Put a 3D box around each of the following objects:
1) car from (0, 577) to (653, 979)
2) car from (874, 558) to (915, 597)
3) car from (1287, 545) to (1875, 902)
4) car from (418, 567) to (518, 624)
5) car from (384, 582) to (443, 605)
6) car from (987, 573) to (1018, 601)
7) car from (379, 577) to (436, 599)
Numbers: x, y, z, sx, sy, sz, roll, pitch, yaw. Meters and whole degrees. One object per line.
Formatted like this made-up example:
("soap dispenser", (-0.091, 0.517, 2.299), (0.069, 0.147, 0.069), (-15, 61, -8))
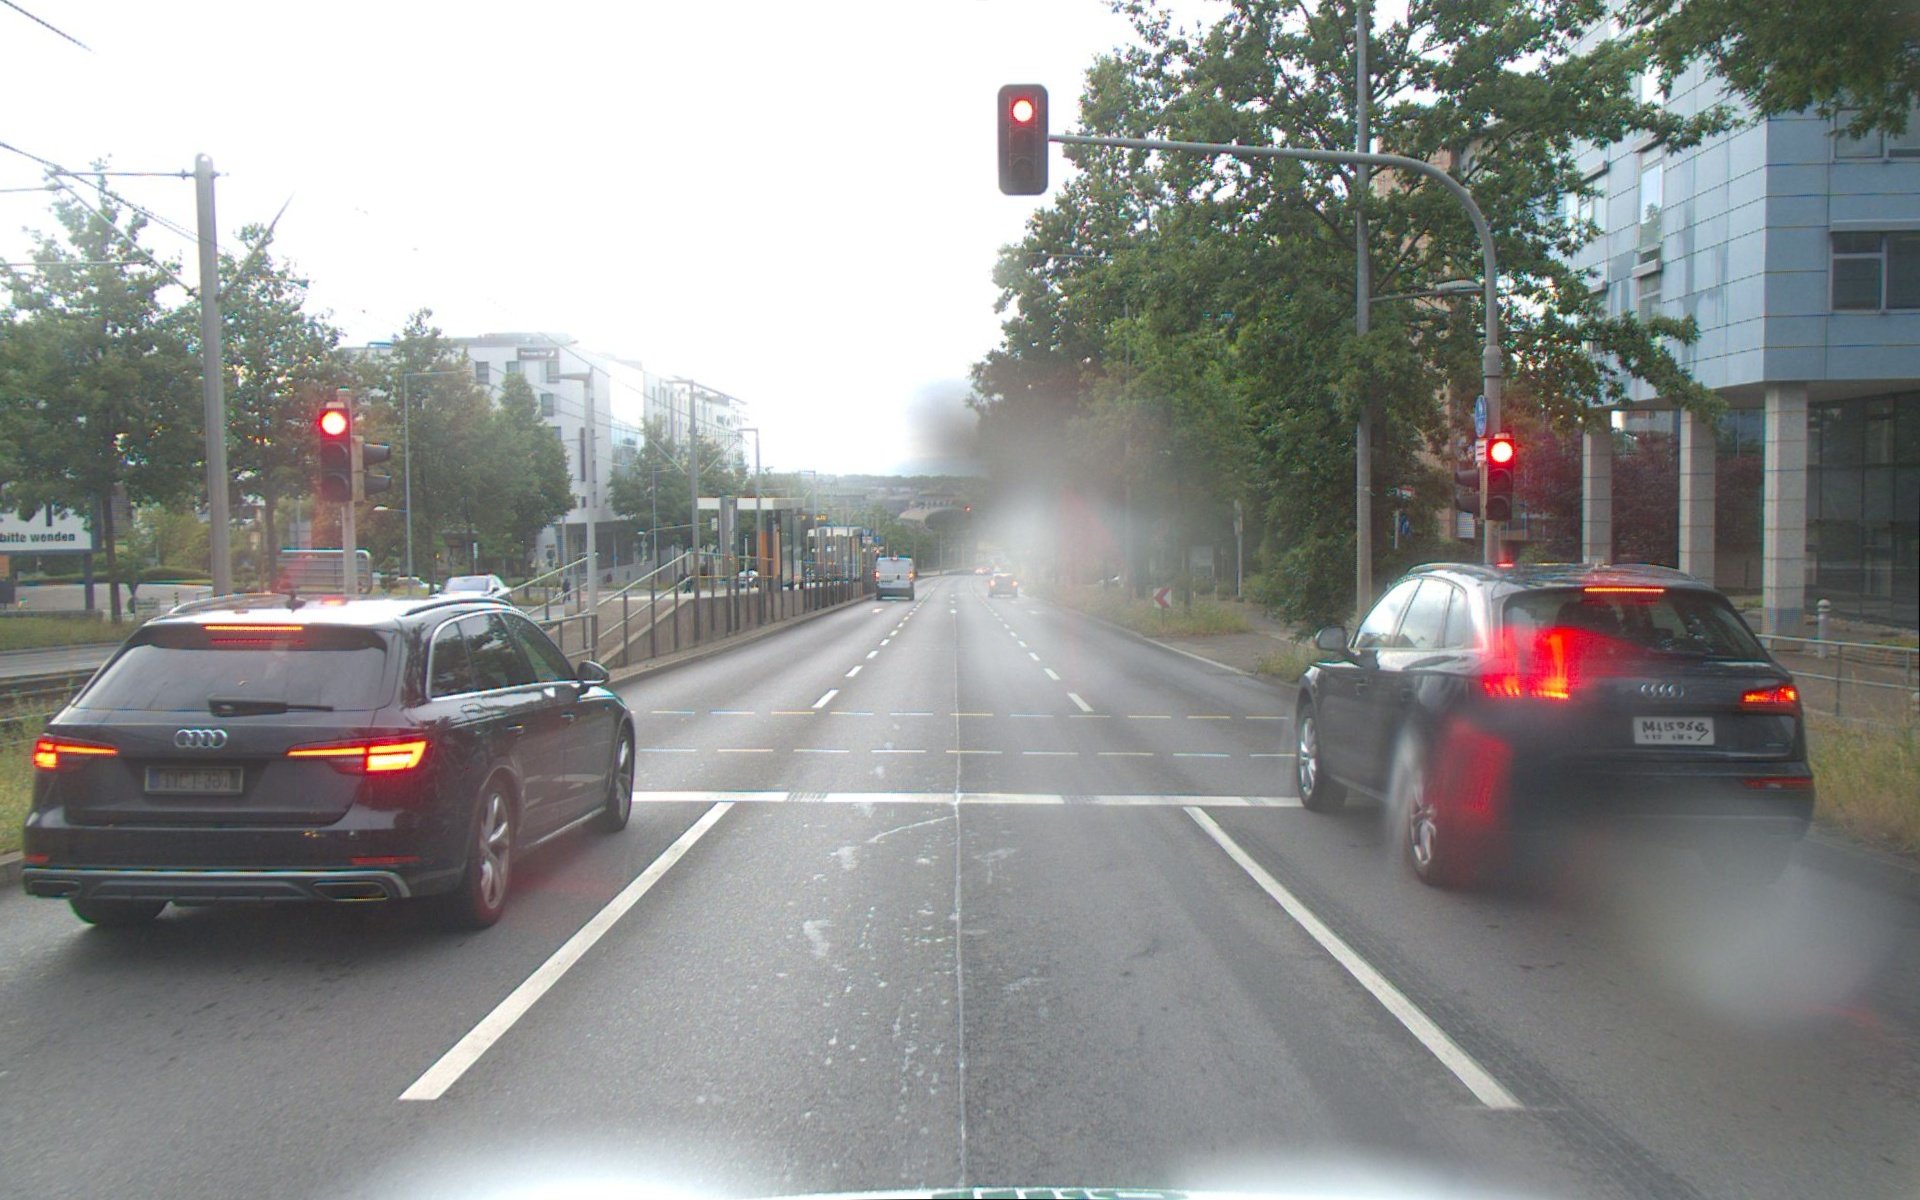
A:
("car", (-2.835, 0.632, 8.406), (1.744, 1.492, 4.513), (0, 1, -1))
("car", (-3.529, -1.224, 89.989), (2.050, 2.089, 4.606), (0, 1, 0))
("car", (3.302, 0.540, 9.845), (1.781, 1.641, 4.470), (0, 1, -1))
("car", (-16.340, -0.168, 55.213), (1.953, 1.749, 4.839), (-2, 1, -2))
("car", (-34.358, -0.401, 103.914), (3.297, 1.411, 1.434), (0, 1, 16))
("car", (2.604, -0.801, 101.900), (1.738, 1.720, 3.845), (0, 1, 0))
("car", (-42.843, -0.935, 128.385), (4.021, 1.461, 1.649), (-3, 1, -15))
